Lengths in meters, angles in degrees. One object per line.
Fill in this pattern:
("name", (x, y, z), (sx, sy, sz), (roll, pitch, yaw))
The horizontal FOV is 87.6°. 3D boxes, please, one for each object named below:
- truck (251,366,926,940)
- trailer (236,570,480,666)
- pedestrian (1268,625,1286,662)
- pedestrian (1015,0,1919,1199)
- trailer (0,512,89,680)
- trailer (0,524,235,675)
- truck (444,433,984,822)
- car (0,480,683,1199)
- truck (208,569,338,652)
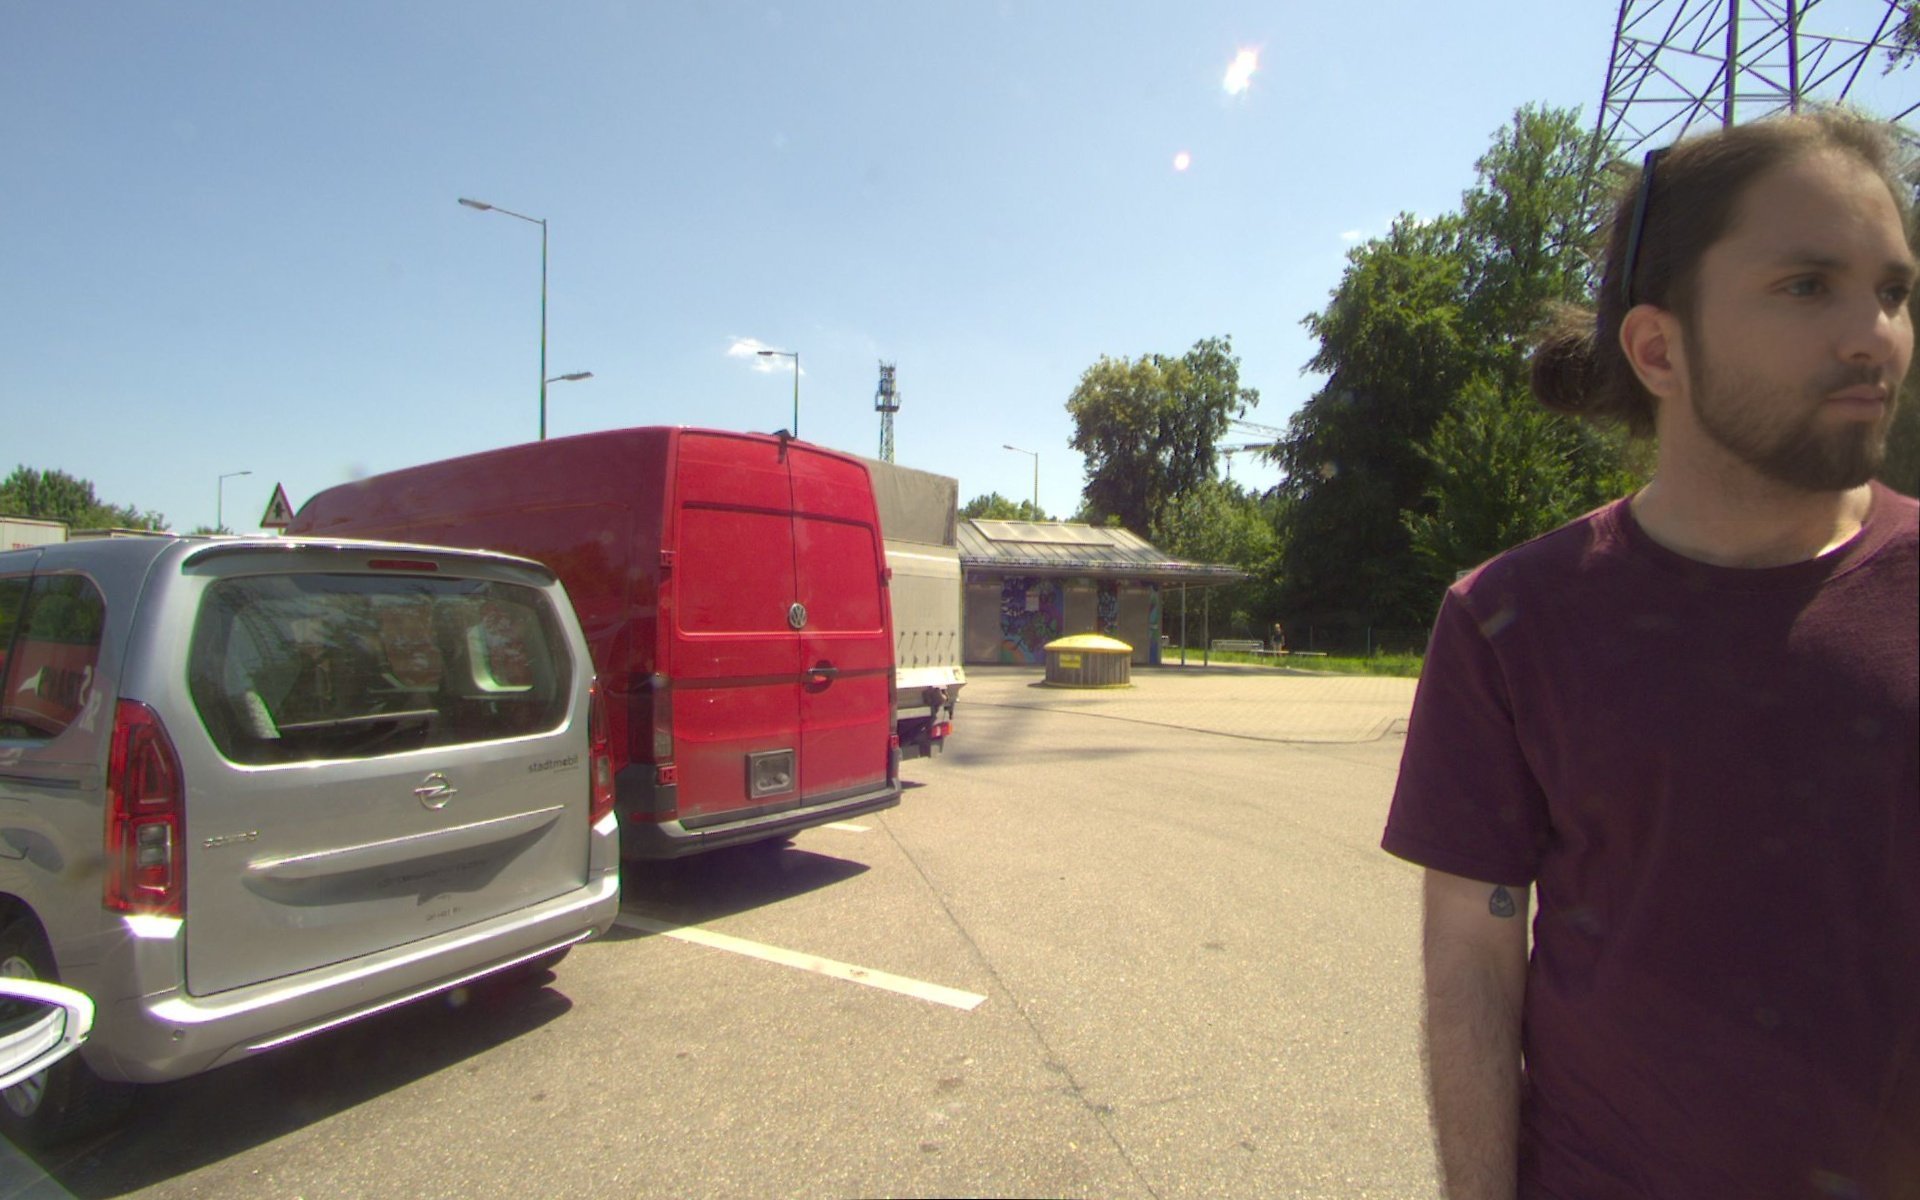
("truck", (-2.876, 0.338, 7.031), (5.238, 2.655, 1.972), (-2, -2, 38))
("trailer", (-26.085, 0.647, 42.886), (14.184, 3.552, 2.808), (2, -2, 33))
("pedestrian", (14.138, 1.936, 44.628), (0.724, 1.658, 0.791), (-1, -1, 18))
("pedestrian", (0.629, 0.474, 0.814), (0.849, 1.857, 0.859), (-1, -1, 34))
("trailer", (-29.003, -0.258, 28.125), (14.184, 4.040, 2.808), (2, -2, 33))
("trailer", (-27.939, -0.100, 31.771), (14.184, 4.040, 2.808), (2, -2, 33))
("truck", (-2.725, 0.306, 10.270), (5.582, 2.949, 2.449), (-2, -2, 37))
("car", (-3.369, 0.688, 4.231), (4.113, 1.887, 1.868), (1, -2, 31))
("truck", (-32.079, 0.468, 46.744), (5.813, 3.566, 2.799), (2, -2, 33))
